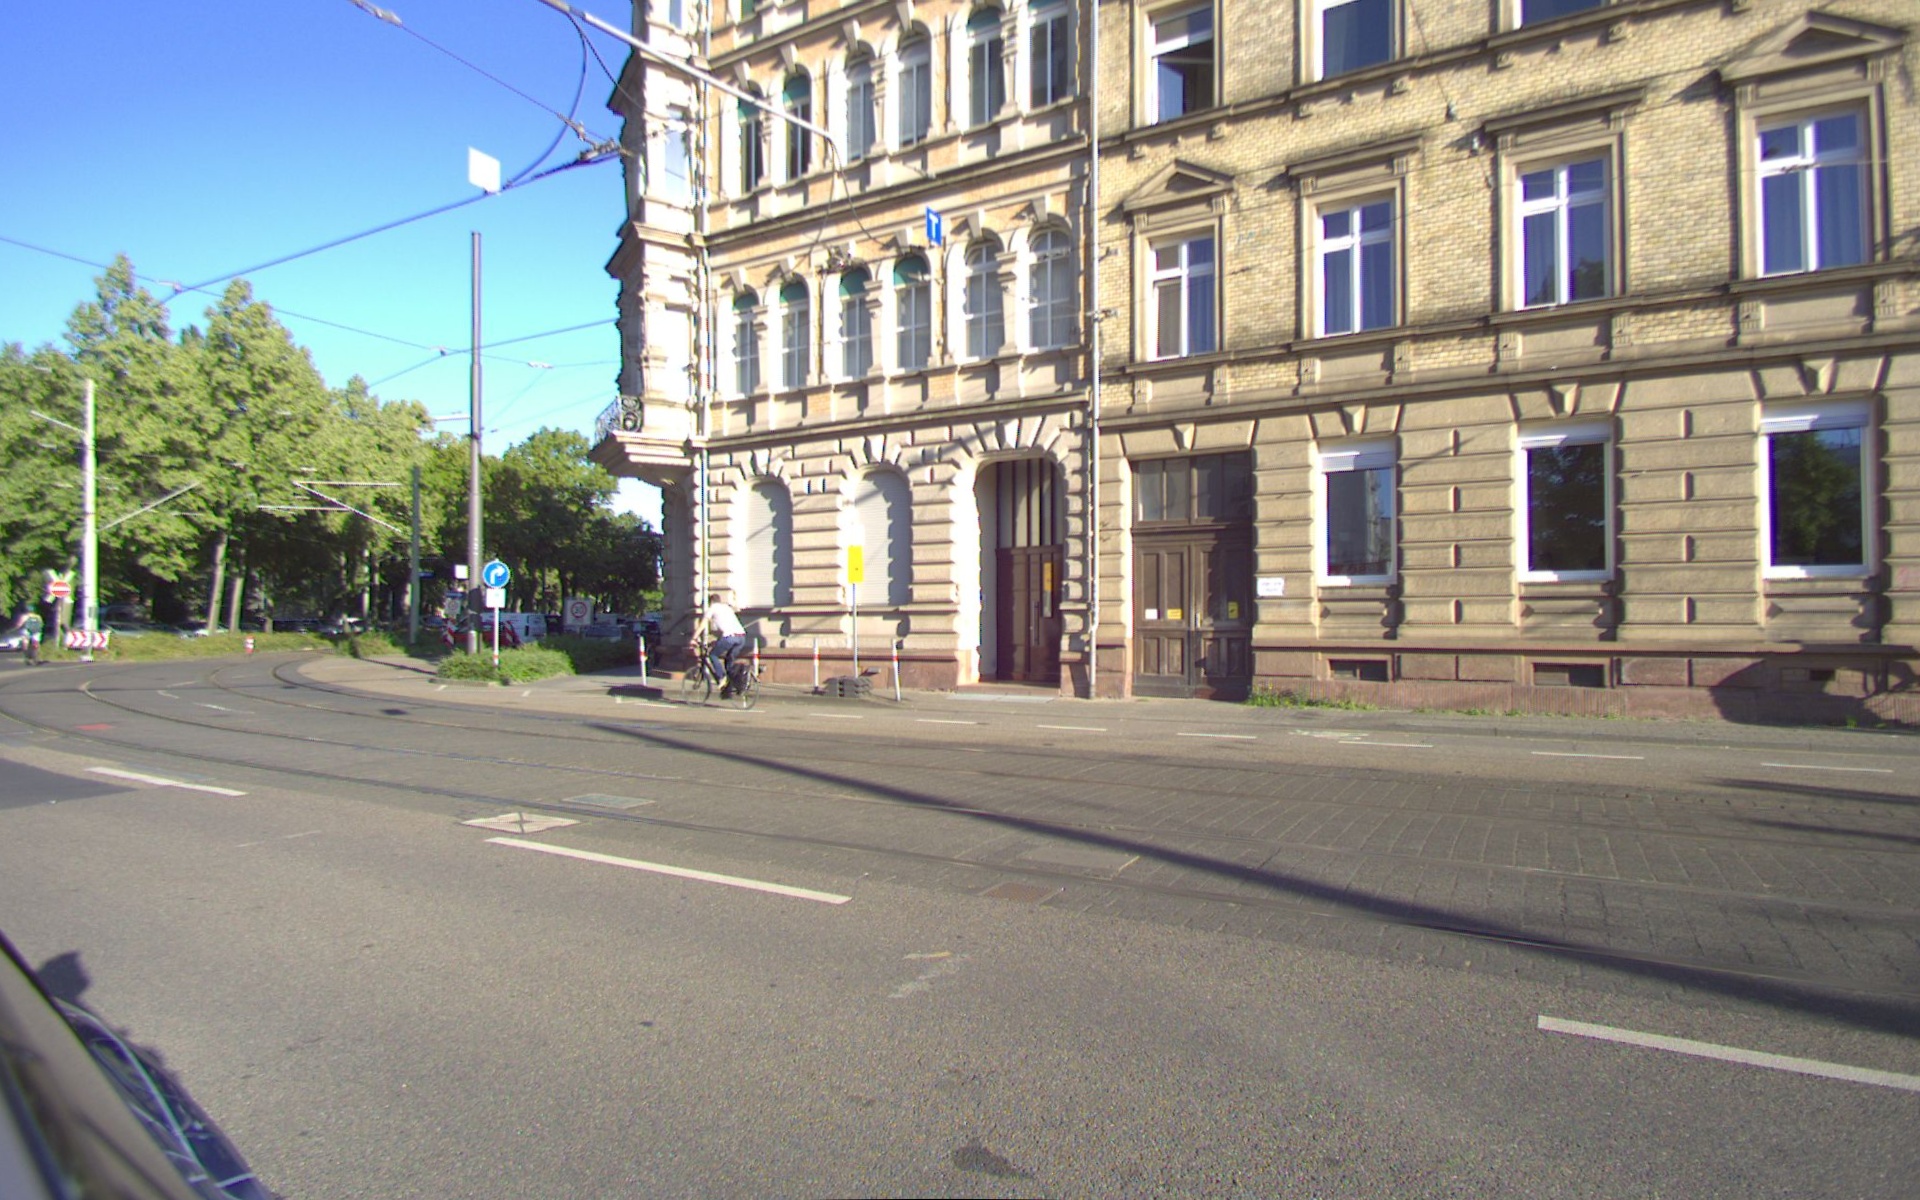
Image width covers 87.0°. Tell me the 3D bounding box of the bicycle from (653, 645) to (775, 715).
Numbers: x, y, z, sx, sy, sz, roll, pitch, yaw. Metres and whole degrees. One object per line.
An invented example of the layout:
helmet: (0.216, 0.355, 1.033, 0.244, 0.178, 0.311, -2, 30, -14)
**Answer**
bicycle: (-4.116, 1.304, 16.861, 2.109, 1.092, 0.721, -2, -3, 32)

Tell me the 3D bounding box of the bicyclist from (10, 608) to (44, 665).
bicyclist: (-29.862, 1.162, 32.400, 1.059, 1.776, 0.599, -1, -2, 38)

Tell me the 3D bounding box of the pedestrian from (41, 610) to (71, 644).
pedestrian: (-48.478, 1.439, 54.272, 0.822, 1.781, 0.884, -1, -2, 15)

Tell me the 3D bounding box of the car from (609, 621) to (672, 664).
car: (-12.938, 1.699, 41.178, 1.711, 1.674, 4.006, 0, -2, -7)

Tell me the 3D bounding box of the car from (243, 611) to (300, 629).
car: (-67.155, 1.923, 98.699, 4.302, 1.719, 1.997, 0, -2, 5)

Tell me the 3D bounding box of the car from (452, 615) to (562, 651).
car: (-23.786, 1.739, 53.253, 4.997, 1.822, 1.996, 0, -2, 6)

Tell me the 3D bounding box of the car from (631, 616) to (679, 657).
car: (-15.518, 1.837, 51.689, 1.967, 2.029, 4.647, 0, -2, -12)

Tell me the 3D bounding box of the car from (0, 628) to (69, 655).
car: (-50.853, 2.208, 54.894, 1.920, 1.409, 4.007, 0, -2, -8)

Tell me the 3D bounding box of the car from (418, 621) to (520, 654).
car: (-23.108, 1.755, 47.743, 3.951, 1.519, 1.865, 0, -2, 6)

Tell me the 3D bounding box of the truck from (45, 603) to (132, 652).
truck: (-51.848, 1.638, 60.363, 1.966, 2.804, 4.898, 0, -2, -15)

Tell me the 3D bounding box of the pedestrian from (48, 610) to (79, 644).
pedestrian: (-47.662, 1.439, 53.806, 0.822, 1.781, 0.884, -1, -2, 15)

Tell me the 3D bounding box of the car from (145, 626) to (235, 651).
car: (-42.553, 2.127, 55.966, 3.637, 1.364, 1.740, 0, -2, 1)

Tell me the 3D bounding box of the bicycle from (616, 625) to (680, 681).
bicycle: (-7.492, 1.241, 24.422, 0.636, 1.276, 2.687, 0, -2, 2)

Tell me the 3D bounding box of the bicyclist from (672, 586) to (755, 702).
bicyclist: (-4.111, 0.726, 16.872, 1.208, 1.854, 0.722, -2, -3, 32)

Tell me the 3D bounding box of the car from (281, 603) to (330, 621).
car: (-67.633, 1.264, 104.643, 3.948, 1.763, 1.883, 0, -2, 4)

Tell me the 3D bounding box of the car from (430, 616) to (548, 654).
car: (-23.238, 1.721, 49.989, 4.997, 1.802, 1.996, 0, -2, 6)

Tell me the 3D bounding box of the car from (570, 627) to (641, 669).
car: (-12.678, 1.693, 36.402, 1.711, 1.425, 3.439, 0, -2, -7)

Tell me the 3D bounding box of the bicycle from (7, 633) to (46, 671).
bicycle: (-29.978, 1.650, 32.492, 1.949, 1.184, 0.603, -1, -2, 38)

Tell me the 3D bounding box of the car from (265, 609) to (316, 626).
car: (-67.075, 1.767, 101.403, 3.948, 1.763, 1.883, 0, -2, 4)

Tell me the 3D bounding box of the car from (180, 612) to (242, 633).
car: (-65.672, 1.975, 88.760, 4.396, 1.763, 1.993, 0, -2, 11)
